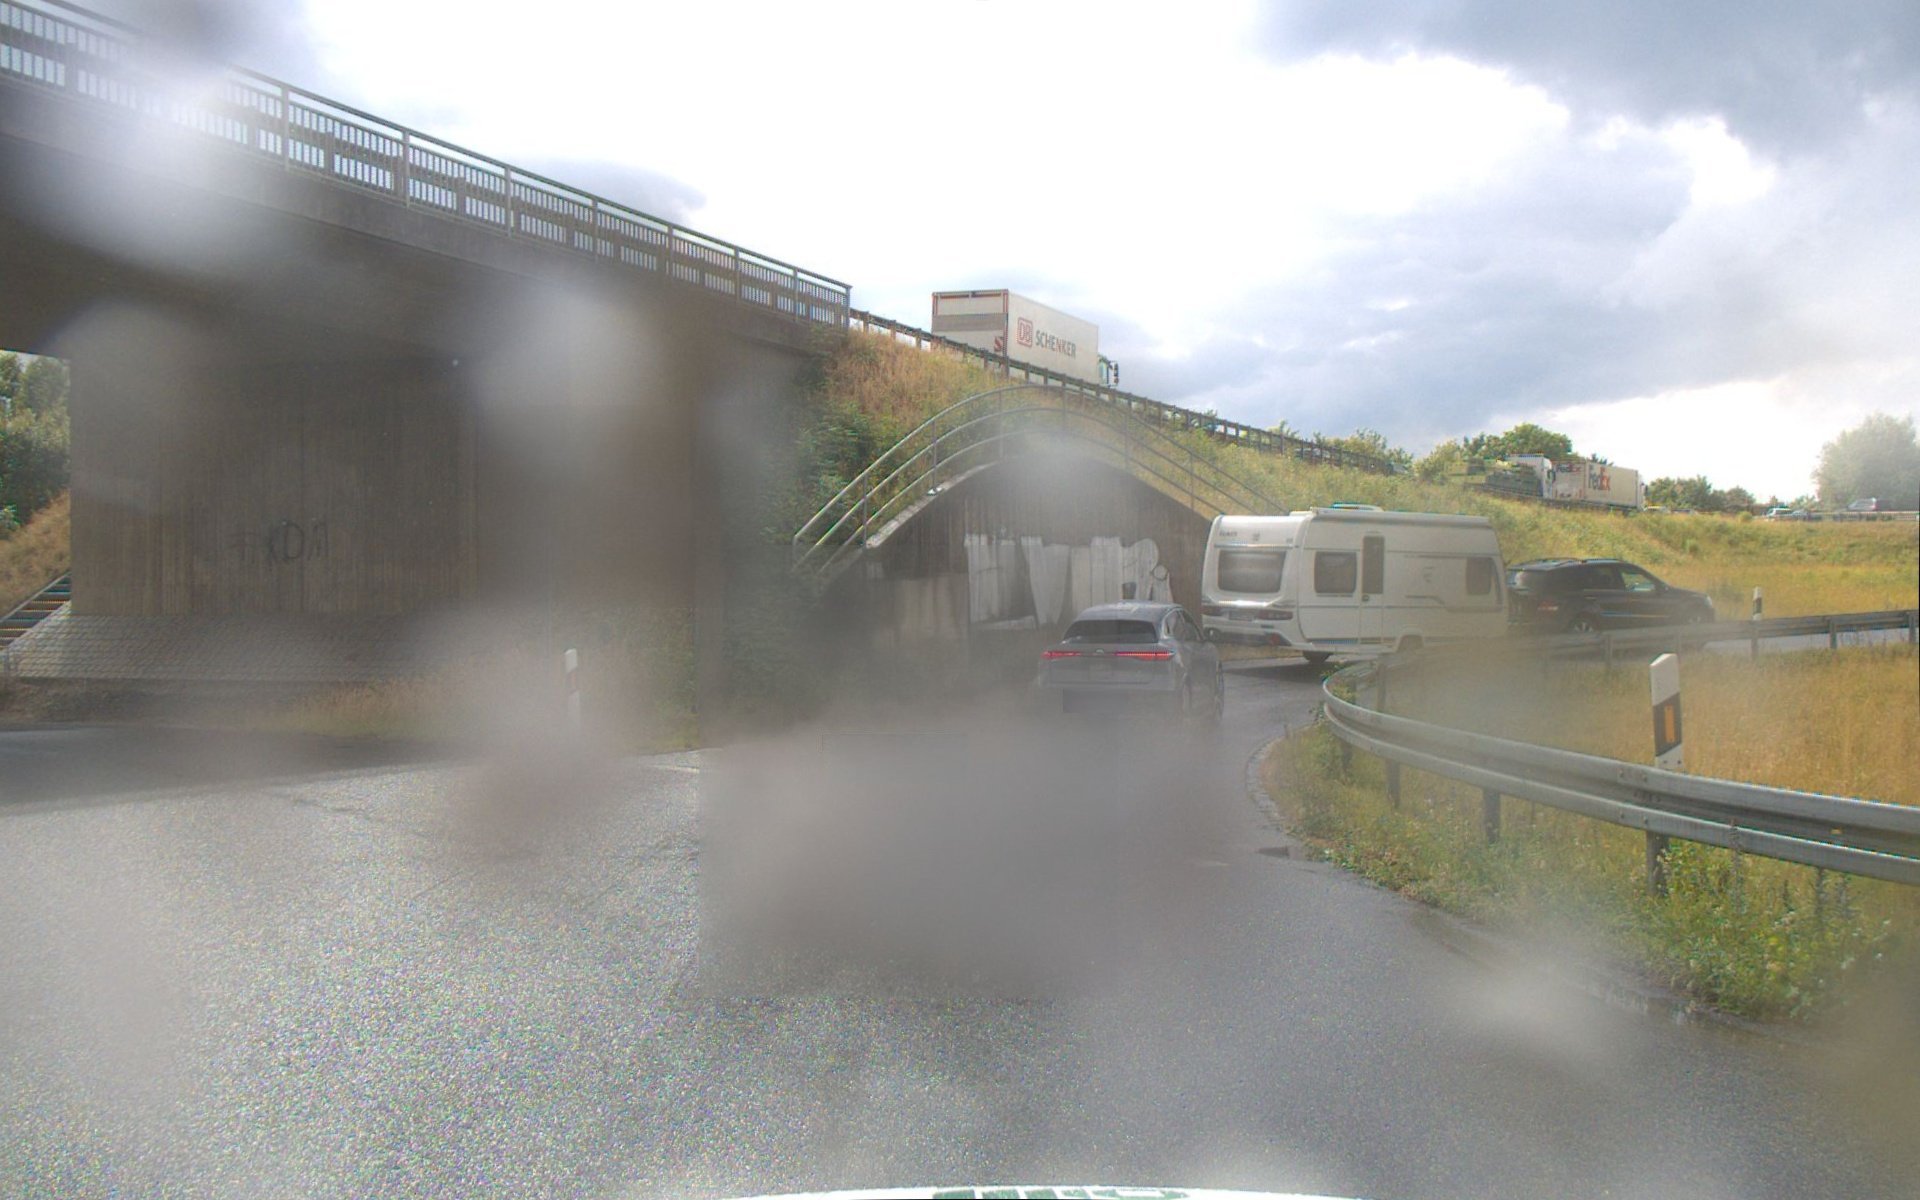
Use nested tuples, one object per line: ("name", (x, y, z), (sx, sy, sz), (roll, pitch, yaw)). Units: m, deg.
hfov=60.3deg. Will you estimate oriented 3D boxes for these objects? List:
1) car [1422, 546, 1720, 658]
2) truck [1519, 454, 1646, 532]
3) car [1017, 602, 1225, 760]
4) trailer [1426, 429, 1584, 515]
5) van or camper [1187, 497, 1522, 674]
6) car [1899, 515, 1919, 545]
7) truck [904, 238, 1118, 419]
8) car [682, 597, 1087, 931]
("car", (11.863, -0.036, 32.033), (5.682, 1.959, 2.412), (-1, 2, -31))
("truck", (47.343, -7.899, 125.072), (4.384, 4.582, 19.308), (1, 0, 35))
("car", (1.896, 0.813, 18.403), (1.681, 1.551, 4.003), (0, -1, 15))
("trailer", (36.302, -8.195, 109.166), (4.338, 4.025, 20.146), (1, 0, 35))
("van or camper", (6.924, -0.312, 28.716), (5.935, 2.777, 2.408), (-1, 2, -36))
("car", (67.770, -4.927, 114.961), (1.967, 2.049, 3.971), (0, 0, -23))
("truck", (1.807, -8.201, 51.539), (3.118, 4.035, 9.227), (1, 0, 26))
("car", (-0.282, 0.776, 9.958), (1.876, 1.534, 4.597), (0, -1, 2))
